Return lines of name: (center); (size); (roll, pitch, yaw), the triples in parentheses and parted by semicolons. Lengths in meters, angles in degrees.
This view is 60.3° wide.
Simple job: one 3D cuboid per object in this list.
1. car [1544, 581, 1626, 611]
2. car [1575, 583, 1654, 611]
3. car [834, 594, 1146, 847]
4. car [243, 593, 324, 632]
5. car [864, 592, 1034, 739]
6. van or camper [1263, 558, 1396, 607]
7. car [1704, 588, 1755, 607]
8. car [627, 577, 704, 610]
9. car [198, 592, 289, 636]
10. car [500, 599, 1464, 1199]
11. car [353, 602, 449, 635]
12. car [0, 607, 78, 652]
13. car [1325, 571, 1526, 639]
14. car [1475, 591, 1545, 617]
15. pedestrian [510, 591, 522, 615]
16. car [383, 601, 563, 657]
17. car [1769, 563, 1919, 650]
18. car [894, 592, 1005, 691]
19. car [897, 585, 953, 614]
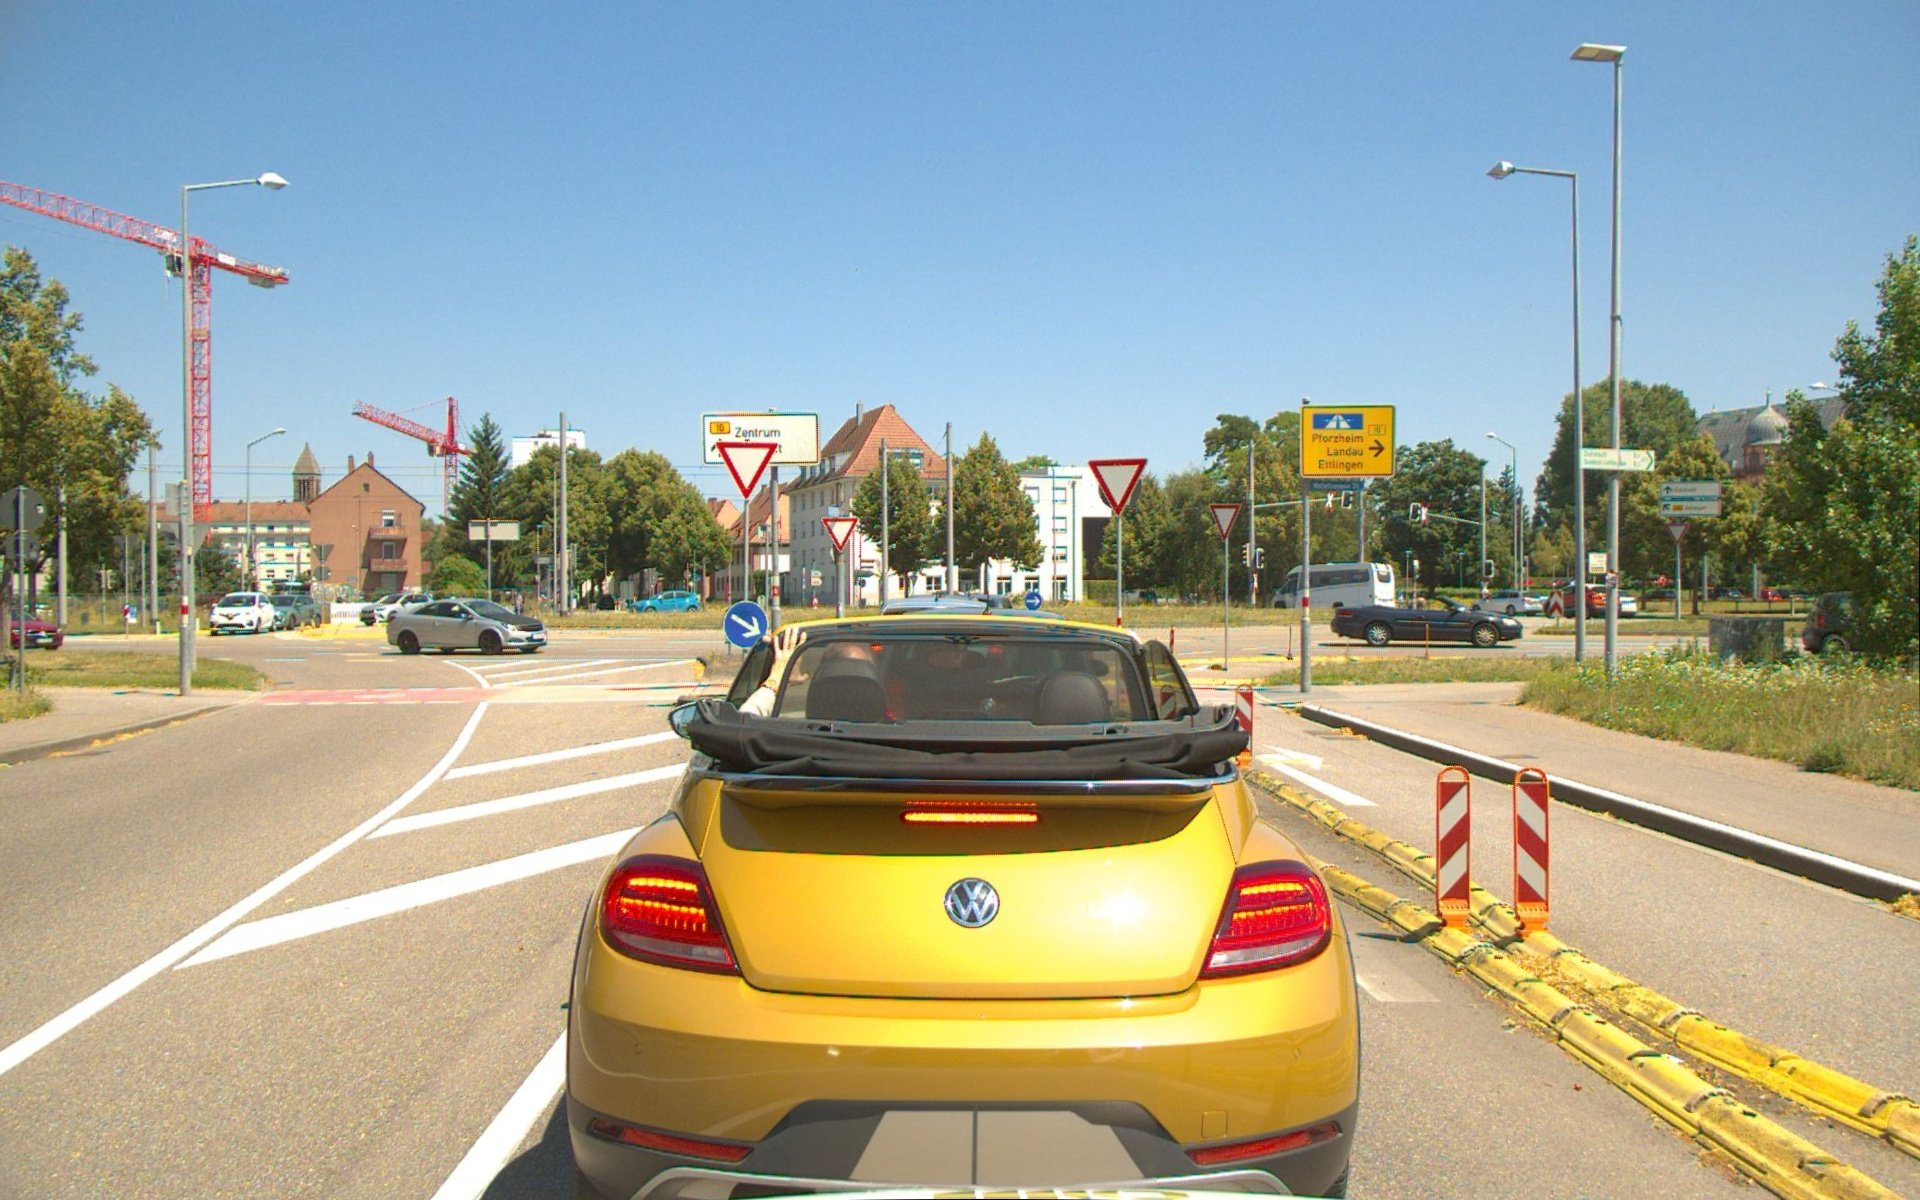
car: (28.384, -0.172, 75.231); (1.622, 1.323, 3.780); (0, 0, -15)
car: (31.763, -0.155, 80.348); (1.622, 1.323, 3.780); (0, 0, -15)
car: (0.152, 0.700, 11.628); (1.810, 1.467, 3.999); (0, 0, -1)
car: (-27.856, 0.502, 68.228); (1.720, 1.576, 3.999); (0, 0, -1)
car: (-0.131, 0.660, 18.637); (1.701, 1.467, 3.999); (0, 0, -1)
van or camper: (21.327, -1.008, 95.786); (2.495, 2.741, 7.387); (0, 0, -45)
car: (71.276, -0.215, 153.229); (3.923, 1.744, 1.991); (0, 0, -17)
car: (-17.093, -0.342, 96.071); (3.959, 1.870, 1.973); (0, 0, -38)
car: (-26.976, 0.513, 62.384); (1.720, 1.576, 3.999); (0, 0, -1)
car: (0.013, 0.725, 4.842); (1.717, 1.447, 3.776); (0, 0, -1)
car: (-26.288, 0.854, 77.855); (1.676, 1.526, 4.210); (0, 0, 32)
car: (-29.559, 0.890, 51.714); (3.575, 1.339, 1.820); (0, 0, 27)
car: (11.914, 0.119, 42.605); (4.832, 1.685, 2.002); (0, 0, 11)
car: (30.781, 0.206, 92.592); (1.628, 1.449, 3.766); (0, 0, -24)
pedestrian: (-29.342, 0.219, 109.262); (0.488, 1.590, 0.590); (-1, 0, 33)
car: (-12.434, 0.720, 42.228); (4.176, 1.339, 1.823); (0, 0, 21)
car: (20.191, 0.138, 36.366); (3.902, 1.847, 2.002); (0, 0, 10)
car: (-0.186, 0.635, 27.438); (1.701, 1.503, 3.999); (0, 0, -1)
car: (-2.047, -0.026, 97.252); (3.150, 1.634, 1.651); (0, 0, 2)
